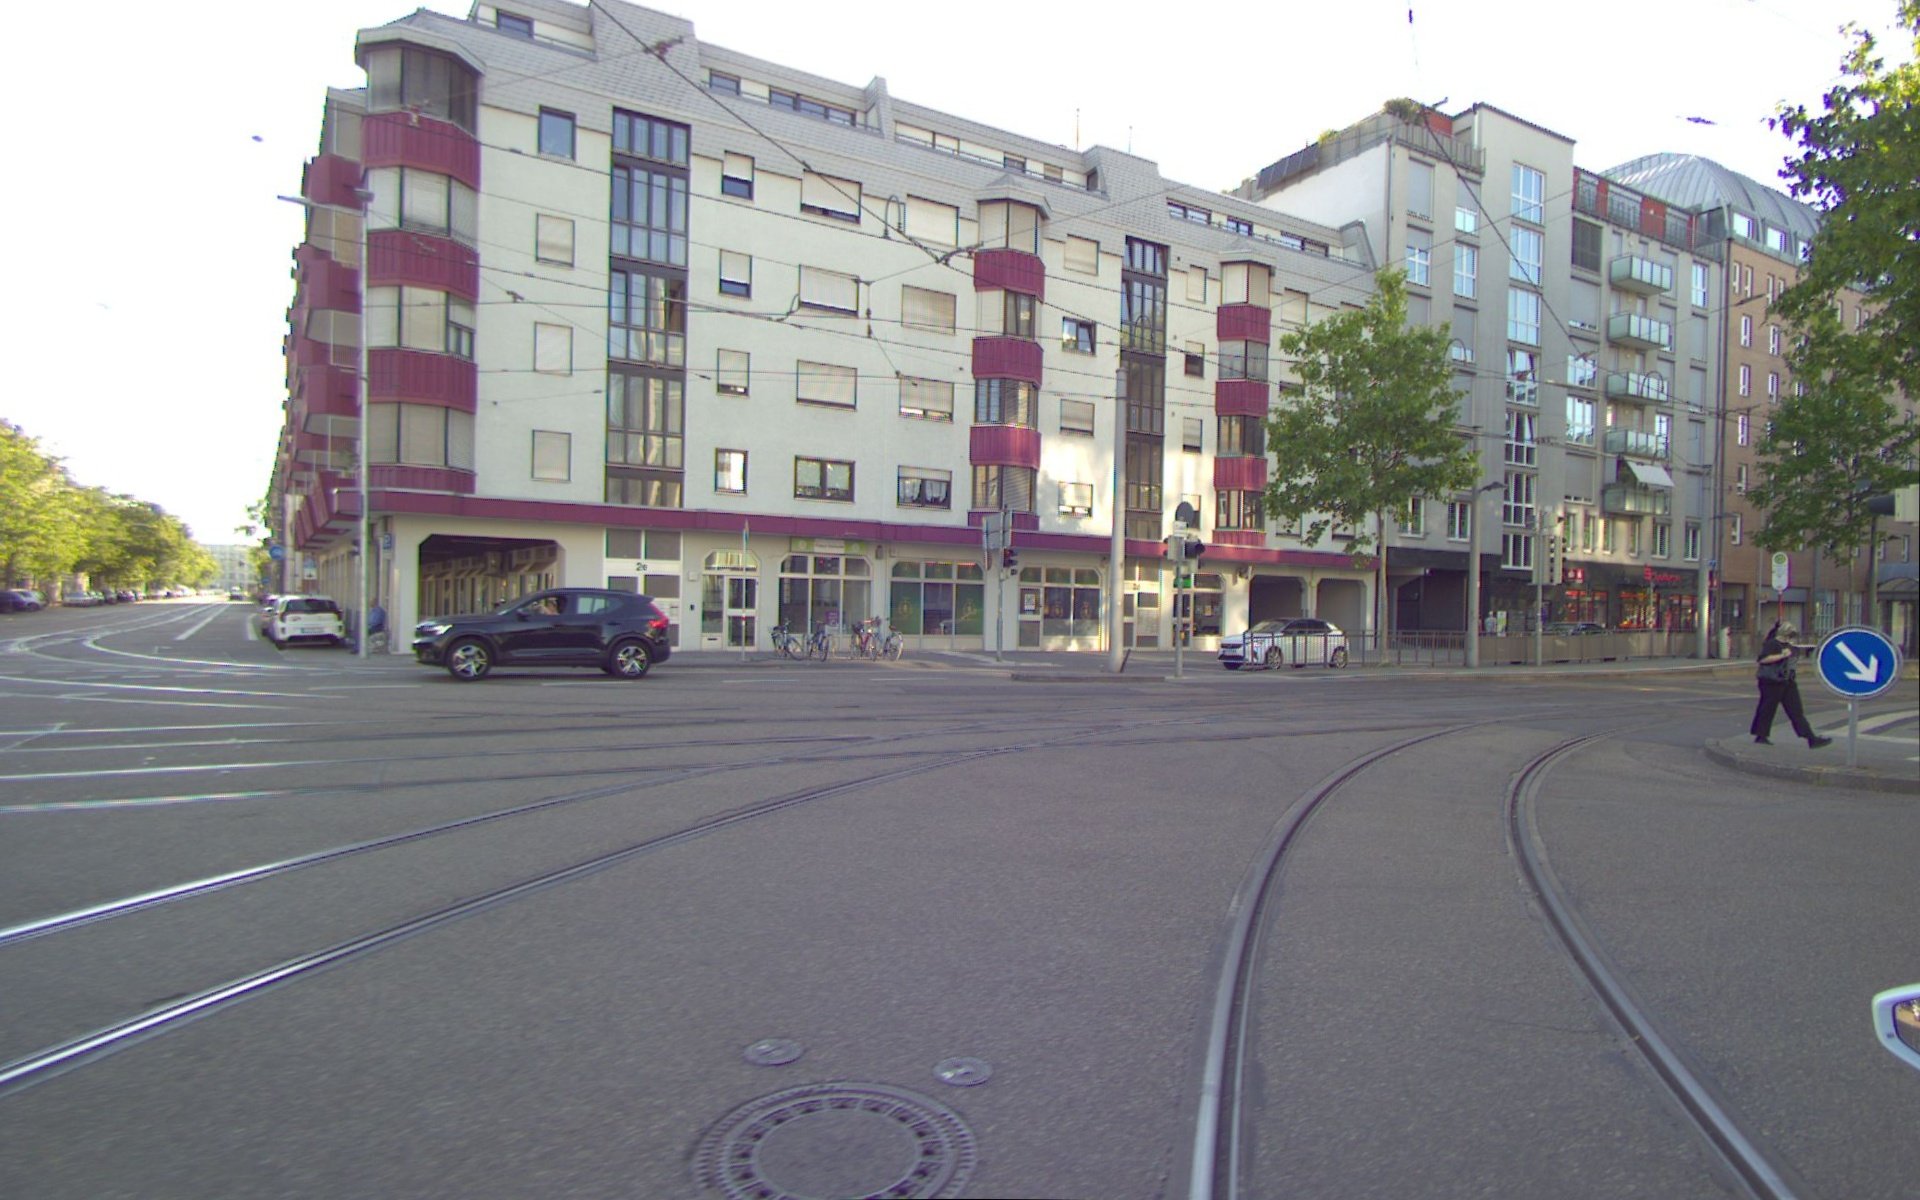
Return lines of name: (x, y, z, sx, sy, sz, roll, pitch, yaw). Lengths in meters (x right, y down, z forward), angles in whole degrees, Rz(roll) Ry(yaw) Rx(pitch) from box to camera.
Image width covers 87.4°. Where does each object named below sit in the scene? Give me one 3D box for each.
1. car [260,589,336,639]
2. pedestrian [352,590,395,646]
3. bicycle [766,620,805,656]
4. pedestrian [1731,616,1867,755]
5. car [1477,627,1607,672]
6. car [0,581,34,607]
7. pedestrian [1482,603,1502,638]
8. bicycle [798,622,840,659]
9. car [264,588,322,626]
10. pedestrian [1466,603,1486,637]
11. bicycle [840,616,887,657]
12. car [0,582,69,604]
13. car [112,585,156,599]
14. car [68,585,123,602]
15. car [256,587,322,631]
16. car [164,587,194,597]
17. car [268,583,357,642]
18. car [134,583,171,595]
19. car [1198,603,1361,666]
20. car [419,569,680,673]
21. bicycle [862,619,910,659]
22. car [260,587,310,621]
car: (-22.135, 0.434, 33.516, 1.980, 1.576, 4.082, 1, 0, -35)
pedestrian: (-14.952, 0.444, 25.594, 0.829, 1.402, 0.850, 1, 0, -38)
bicycle: (-4.567, 0.966, 26.194, 0.546, 0.865, 1.837, 1, 0, -25)
pedestrian: (10.013, 0.984, 12.015, 0.685, 1.565, 1.043, 1, 0, -24)
car: (20.117, 1.689, 34.655, 4.592, 1.418, 1.693, 2, 0, -28)
car: (-61.377, -0.392, 63.502, 3.963, 1.595, 1.979, 1, 0, -37)
pedestrian: (23.293, 0.902, 43.994, 0.581, 1.514, 0.531, 1, 0, -31)
bicycle: (-3.668, 1.040, 26.000, 0.546, 0.865, 1.837, 1, 0, -25)
car: (-29.349, 0.272, 44.130, 1.980, 1.576, 4.539, 1, 0, -35)
pedestrian: (22.835, 0.877, 44.464, 0.581, 1.514, 0.531, 1, 0, -31)
bicycle: (-2.572, 0.954, 26.622, 0.546, 0.998, 1.834, 1, 0, -29)
car: (-64.513, -0.478, 69.927, 3.513, 1.420, 1.684, 1, 1, -34)
car: (-89.837, -0.846, 109.338, 3.513, 1.420, 1.684, 1, 0, -34)
car: (-77.934, -0.618, 90.578, 3.513, 1.420, 1.684, 1, 0, -34)
car: (-25.822, 0.331, 38.605, 1.980, 1.576, 4.539, 1, 0, -35)
car: (-120.320, -1.249, 154.753, 3.513, 1.420, 1.684, 1, 1, -34)
car: (-18.857, 0.339, 29.180, 1.980, 1.576, 3.960, 1, 0, -35)
car: (-102.646, -1.365, 127.721, 3.513, 1.420, 1.684, 1, 1, -34)
car: (8.870, 0.925, 27.836, 4.208, 1.616, 1.947, 1, 0, -29)
car: (-7.475, 0.374, 18.370, 4.208, 1.695, 1.947, 1, 0, -29)
bicycle: (-1.991, 1.018, 26.802, 0.546, 0.998, 1.834, 1, 0, -29)
car: (-34.119, 0.185, 50.750, 1.980, 1.576, 4.539, 1, 0, -35)
